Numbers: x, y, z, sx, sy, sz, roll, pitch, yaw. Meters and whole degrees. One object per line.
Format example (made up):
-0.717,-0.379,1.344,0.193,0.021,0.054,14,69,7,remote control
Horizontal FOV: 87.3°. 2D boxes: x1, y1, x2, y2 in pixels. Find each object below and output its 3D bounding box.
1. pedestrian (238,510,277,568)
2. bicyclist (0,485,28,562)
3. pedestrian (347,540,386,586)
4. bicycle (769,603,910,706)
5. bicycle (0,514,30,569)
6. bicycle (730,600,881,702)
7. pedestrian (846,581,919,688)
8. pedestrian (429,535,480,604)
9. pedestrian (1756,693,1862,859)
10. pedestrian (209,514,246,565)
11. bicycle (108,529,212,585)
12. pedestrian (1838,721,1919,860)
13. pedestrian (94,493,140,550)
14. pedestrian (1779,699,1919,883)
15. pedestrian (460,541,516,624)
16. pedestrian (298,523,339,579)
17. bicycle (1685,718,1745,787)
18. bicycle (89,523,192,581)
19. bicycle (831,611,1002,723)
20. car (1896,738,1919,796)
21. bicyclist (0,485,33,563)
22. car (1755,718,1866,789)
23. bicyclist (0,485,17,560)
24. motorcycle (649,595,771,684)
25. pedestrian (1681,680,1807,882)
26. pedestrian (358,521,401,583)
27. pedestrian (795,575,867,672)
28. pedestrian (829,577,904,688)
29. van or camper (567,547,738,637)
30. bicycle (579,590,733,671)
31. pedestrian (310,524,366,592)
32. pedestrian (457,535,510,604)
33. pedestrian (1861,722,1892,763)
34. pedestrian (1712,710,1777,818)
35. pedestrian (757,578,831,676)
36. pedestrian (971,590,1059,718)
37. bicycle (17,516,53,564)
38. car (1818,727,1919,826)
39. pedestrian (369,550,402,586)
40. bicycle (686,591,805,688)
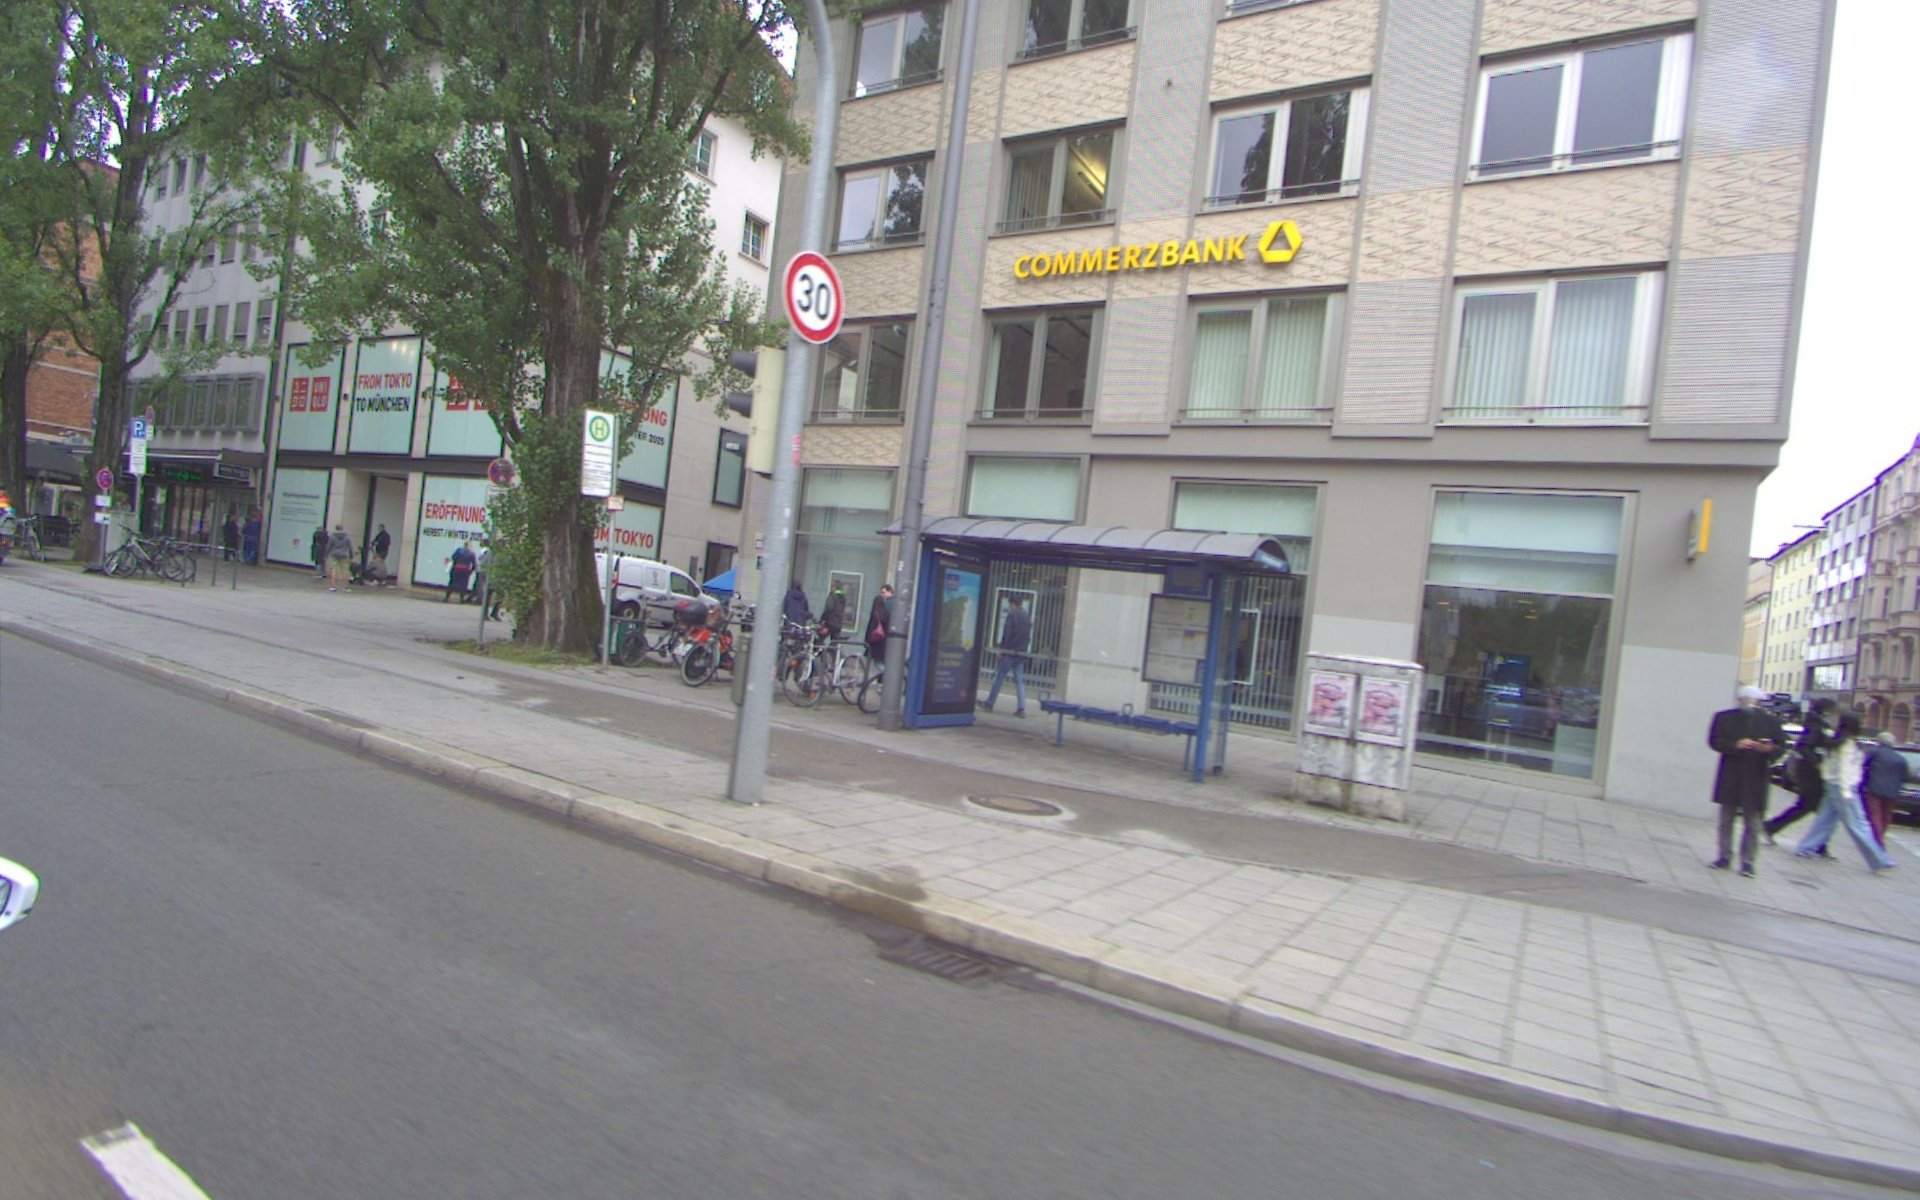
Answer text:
-24.049,-2.095,34.464,0.863,1.851,0.829,7,0,-31,pedestrian
-20.637,-1.661,21.656,0.473,1.608,0.622,7,1,31,bicyclist
-17.764,-1.095,30.128,0.673,1.249,0.670,8,1,33,pedestrian
-1.595,0.778,13.788,0.469,1.267,2.318,7,-1,31,bicycle
-21.181,-1.338,21.971,2.226,1.100,0.627,7,0,31,bicycle
-2.107,0.747,14.156,0.622,1.267,2.347,7,-1,31,bicycle
-1.362,0.613,17.733,0.845,1.779,0.750,5,-1,33,pedestrian
-13.368,-0.802,26.602,0.947,1.683,0.652,7,0,32,pedestrian
9.957,2.032,11.830,0.699,1.779,0.751,7,0,33,pedestrian
-24.946,-2.061,34.251,0.760,1.628,0.670,6,-1,39,pedestrian
-17.829,-0.945,22.464,0.475,1.057,1.763,7,0,21,bicycle
12.204,2.481,13.277,0.722,1.657,0.750,5,1,34,pedestrian
-30.211,-2.801,36.048,1.081,1.863,0.827,7,0,31,pedestrian
9.863,2.058,11.122,1.000,1.780,0.750,7,1,33,pedestrian
-10.351,-0.382,22.069,0.914,1.687,0.560,7,1,33,pedestrian
-20.245,-1.540,31.752,0.815,1.629,0.670,7,0,34,pedestrian
15.758,3.160,21.033,0.440,1.227,1.744,7,0,22,bicycle
-18.481,-1.069,22.728,0.440,1.124,1.743,7,0,22,bicycle
-0.540,0.909,13.294,2.226,1.268,0.473,8,0,-35,bicycle
27.002,4.685,27.059,1.730,1.479,3.993,7,-1,31,car
-20.359,-1.631,21.487,0.385,1.608,0.622,7,1,31,bicyclist
23.484,4.179,27.915,1.731,1.479,3.691,7,-1,33,car
-21.273,-1.728,22.036,0.740,1.608,0.622,7,1,31,bicyclist
-3.572,0.593,14.499,0.501,1.153,1.726,7,0,33,motorcycle
7.630,1.724,9.832,0.740,1.779,0.709,7,0,33,pedestrian
-18.200,-1.504,31.567,0.853,1.786,0.683,7,0,31,pedestrian
-2.490,0.455,19.423,0.947,1.738,0.751,7,0,33,pedestrian
-1.579,0.554,16.993,0.845,1.779,0.750,5,-1,33,pedestrian
-8.415,-0.166,27.844,1.868,1.888,4.109,6,-2,35,van or camper
-4.598,0.495,15.411,0.860,1.029,2.151,7,-1,31,bicycle
-16.481,-1.094,26.680,0.812,1.694,0.985,7,0,-11,pedestrian
-12.926,-0.829,27.315,0.947,1.739,0.751,7,0,32,pedestrian
44.215,6.882,48.541,0.820,1.825,0.866,7,0,33,pedestrian
12.123,2.521,15.563,0.574,1.550,0.444,7,1,28,pedestrian
-3.096,0.510,18.783,0.947,1.698,0.750,7,1,33,pedestrian
0.857,0.831,15.482,0.875,1.840,0.819,7,0,30,pedestrian
-23.065,-1.507,25.080,1.705,1.050,0.364,7,0,40,bicycle
18.590,3.485,19.919,1.731,1.568,3.991,7,-1,33,car
-17.549,-0.975,30.728,0.661,0.981,0.571,7,0,33,pedestrian
-3.016,0.587,14.305,0.442,1.254,1.726,7,0,33,bicycle
